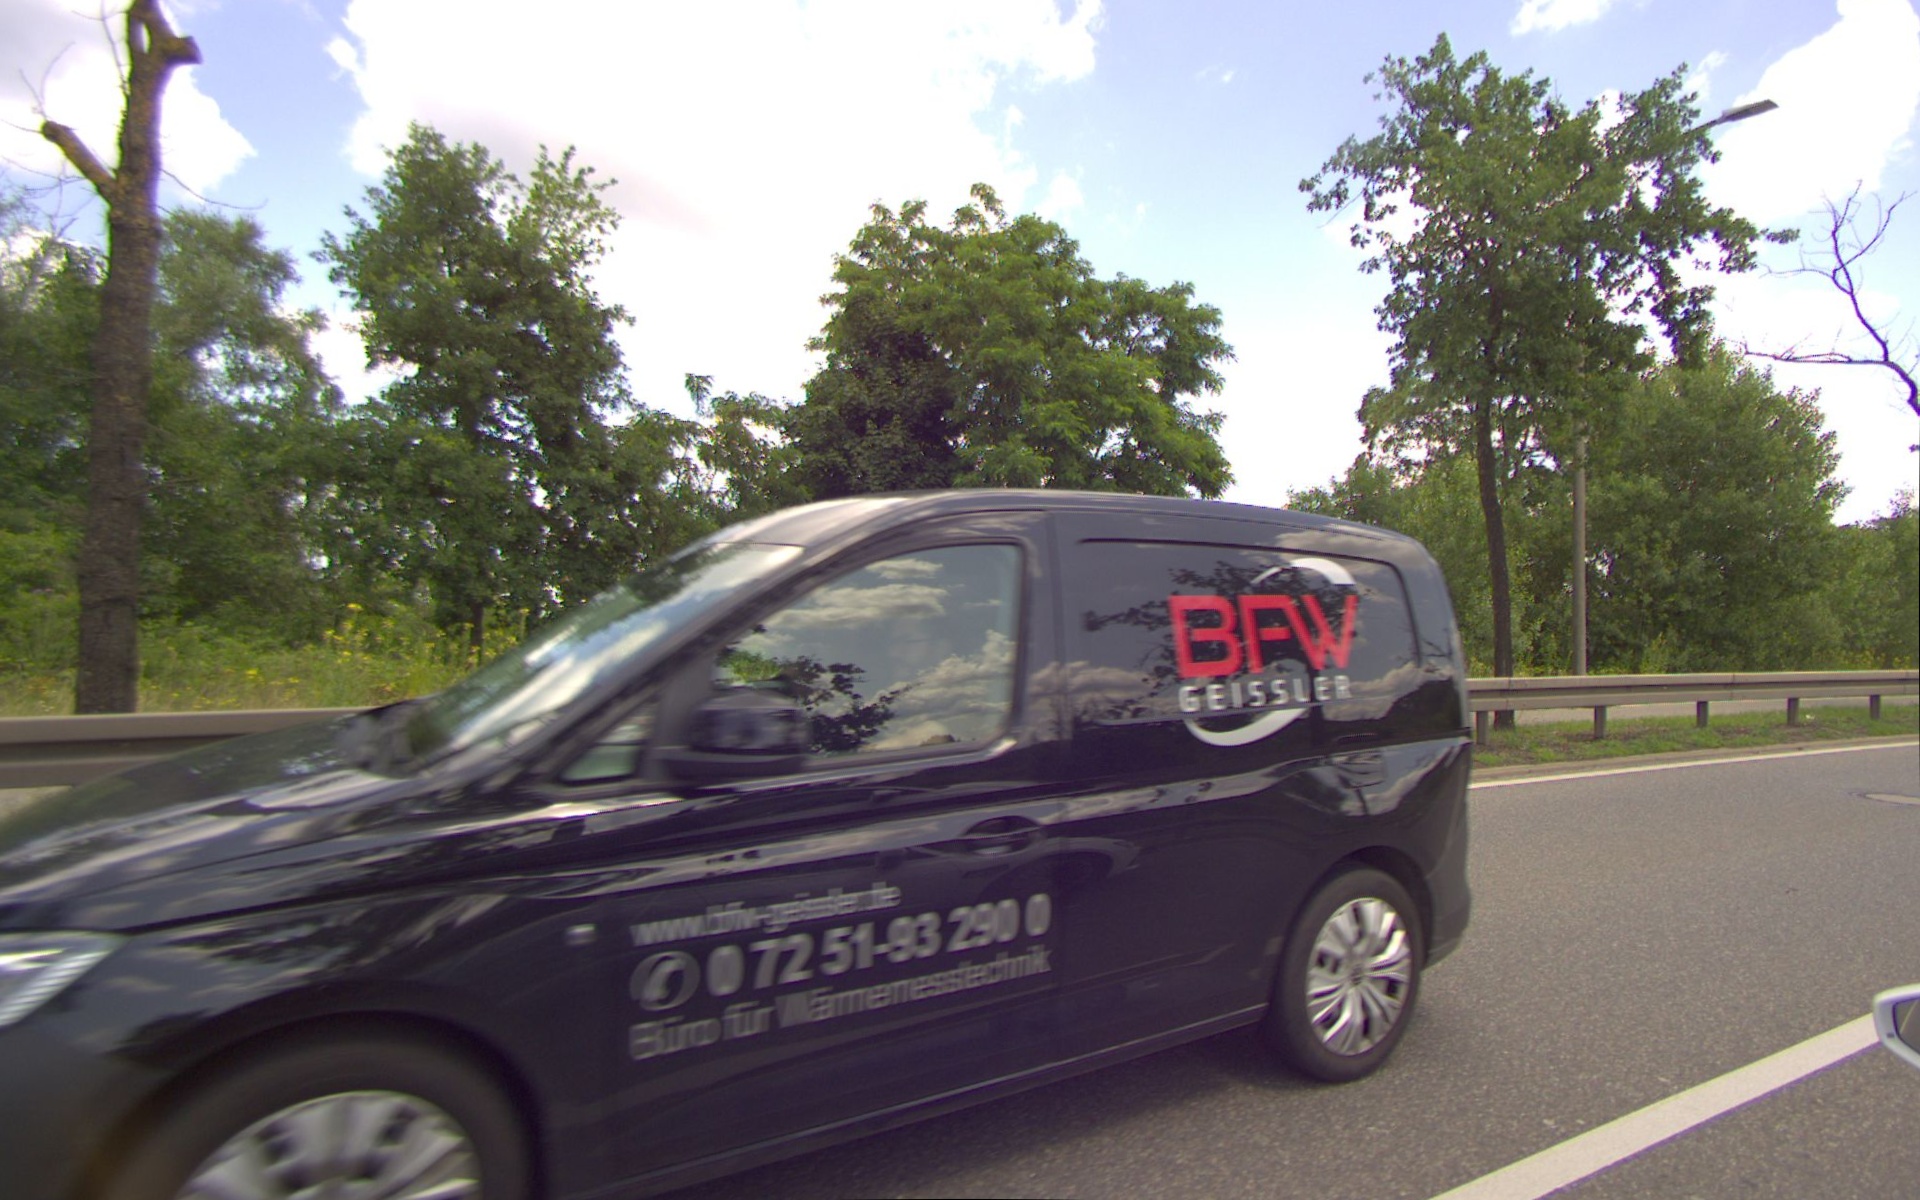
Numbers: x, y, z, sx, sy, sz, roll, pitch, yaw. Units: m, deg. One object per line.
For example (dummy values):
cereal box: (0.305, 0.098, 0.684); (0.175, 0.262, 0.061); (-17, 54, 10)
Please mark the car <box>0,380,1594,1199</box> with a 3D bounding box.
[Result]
car: (-0.131, 0.560, 3.221); (4.260, 1.732, 1.844); (1, 1, -30)
